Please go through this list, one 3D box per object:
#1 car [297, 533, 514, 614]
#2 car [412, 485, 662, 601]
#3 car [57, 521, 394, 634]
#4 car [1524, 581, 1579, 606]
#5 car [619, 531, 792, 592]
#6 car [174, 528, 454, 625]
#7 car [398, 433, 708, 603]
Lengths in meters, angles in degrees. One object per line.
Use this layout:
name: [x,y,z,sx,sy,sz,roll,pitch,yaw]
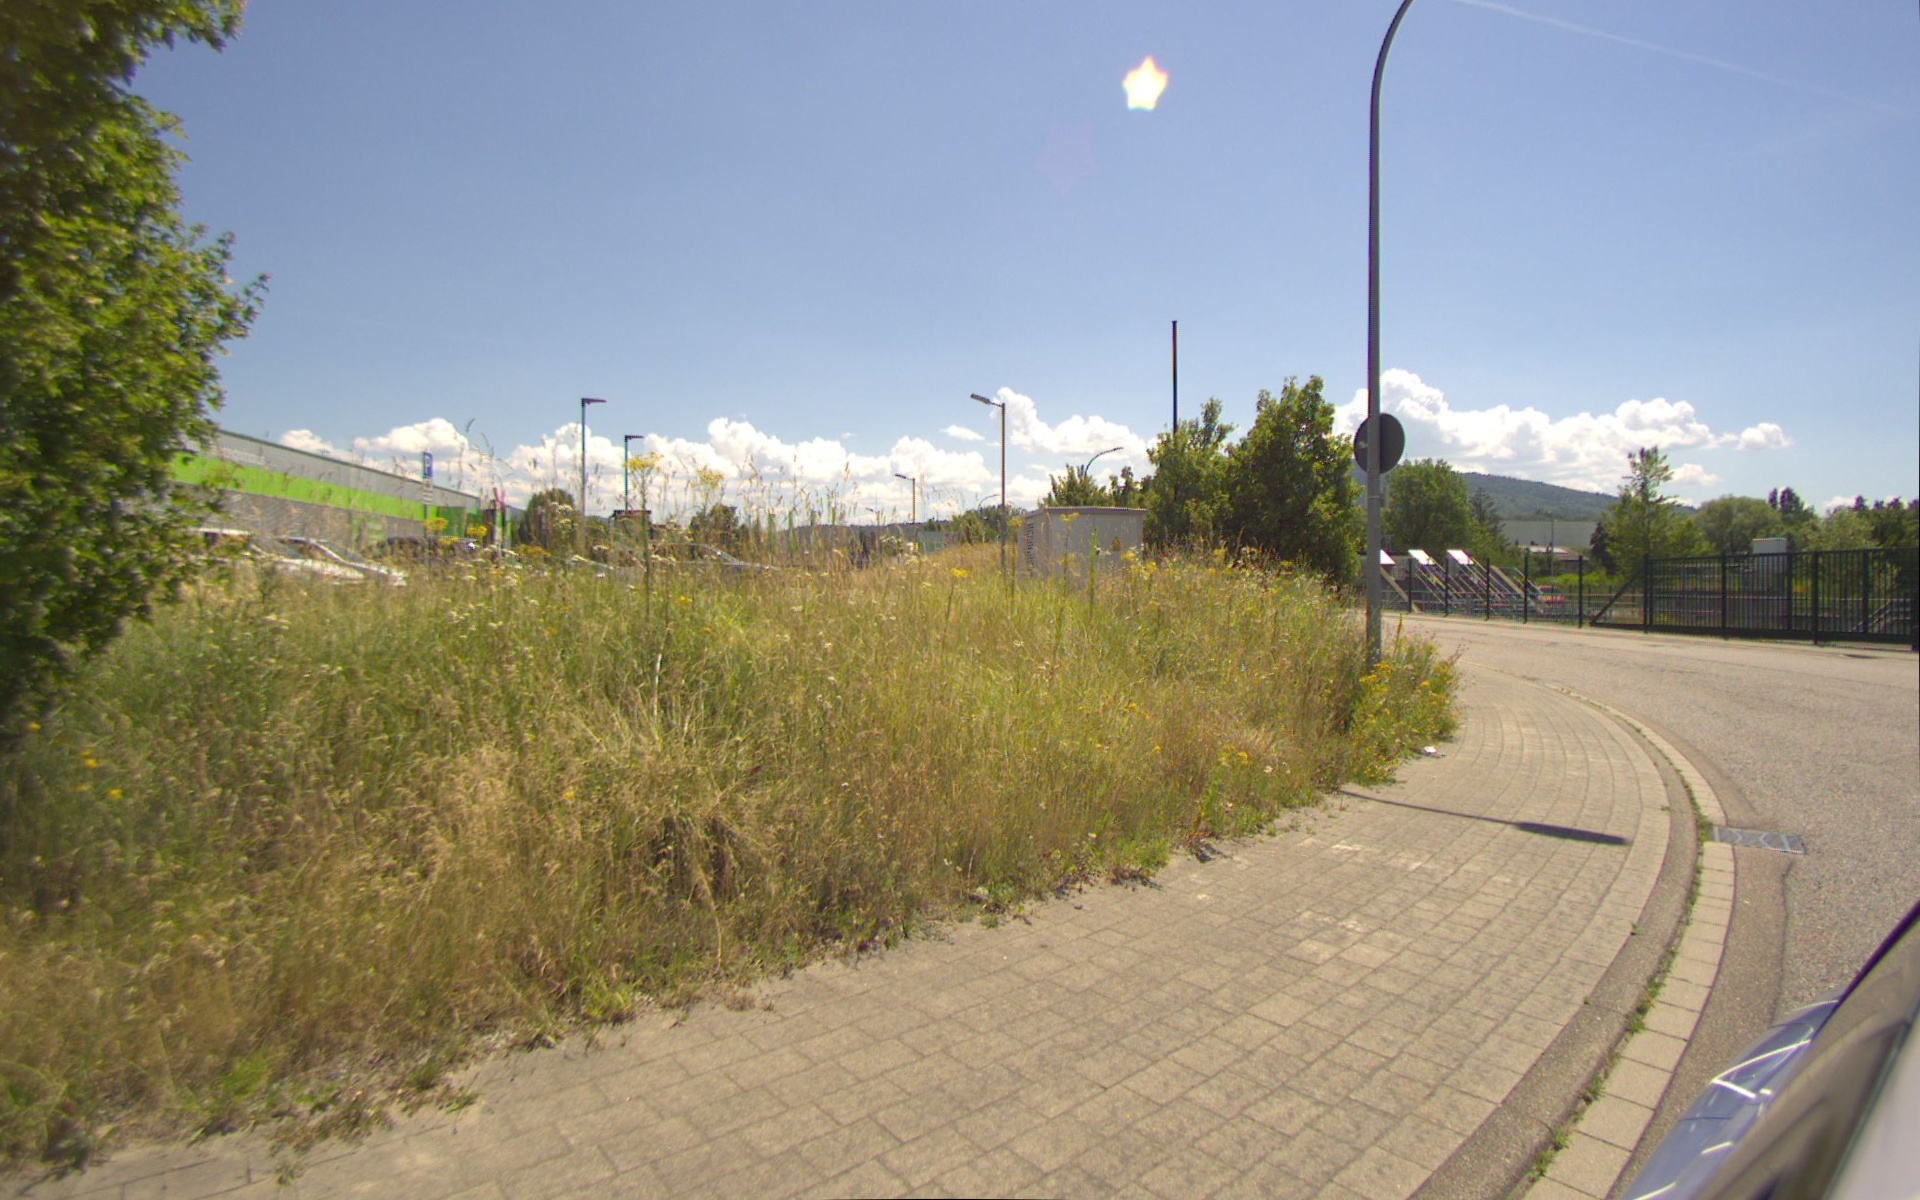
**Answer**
car: [-13.677,-0.677,25.219,4.310,1.890,2.004,-1,1,-9]
car: [-8.337,-1.125,20.364,4.310,2.171,1.957,-1,1,-10]
car: [-12.562,-0.413,17.619,4.310,1.808,1.957,-1,1,-10]
car: [40.342,-0.466,69.089,1.770,1.638,3.992,0,1,7]
car: [-7.383,-1.130,29.750,4.656,1.686,2.002,-1,1,-5]
car: [-12.843,-0.496,20.398,4.310,1.808,1.942,-1,1,-9]
car: [-6.958,-1.403,17.764,4.656,2.777,2.002,-1,1,-5]
